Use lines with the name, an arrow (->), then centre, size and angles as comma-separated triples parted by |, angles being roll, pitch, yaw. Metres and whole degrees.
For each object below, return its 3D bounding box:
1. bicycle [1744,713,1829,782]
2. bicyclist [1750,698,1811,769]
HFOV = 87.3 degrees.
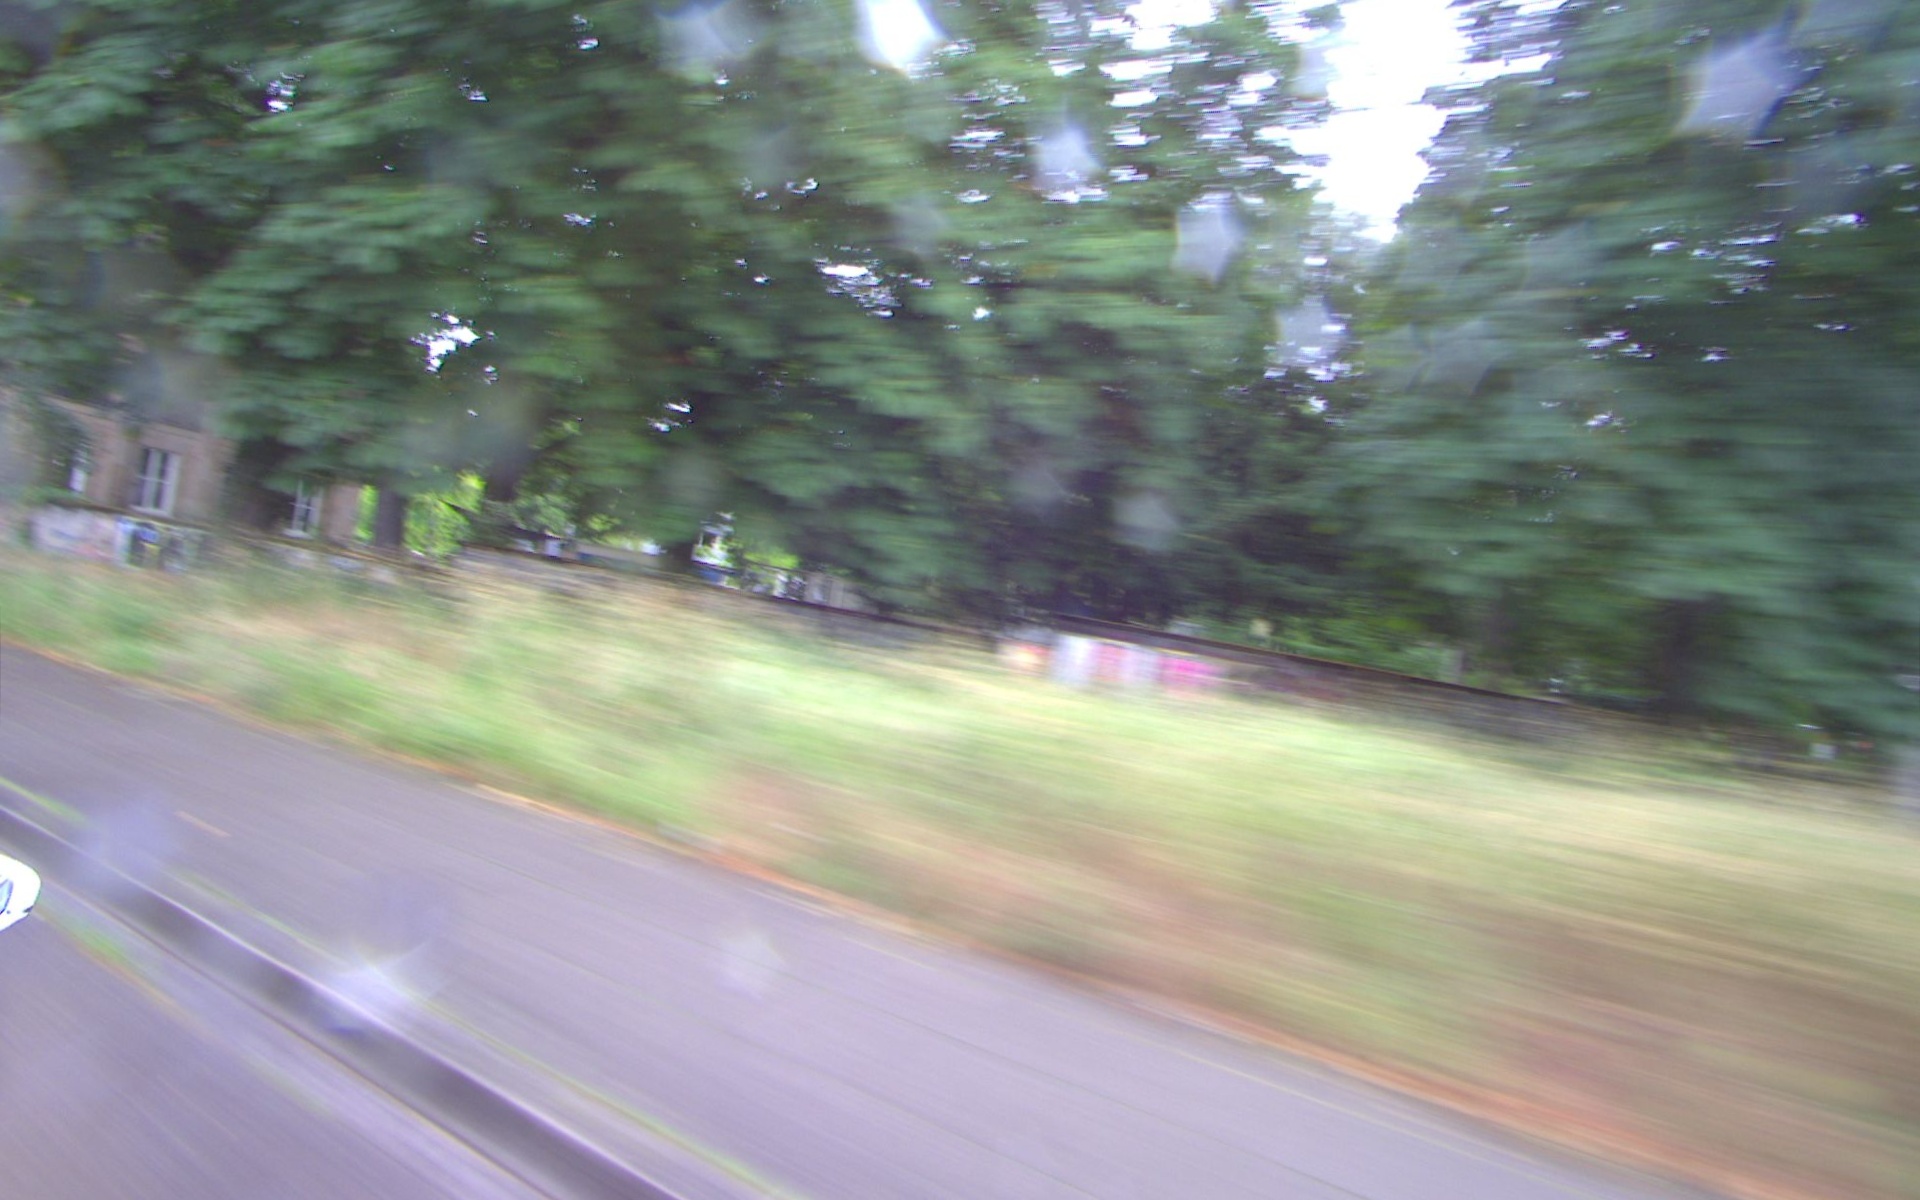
bicycle -> 16.583, 2.928, 20.223 | 0.614, 1.154, 1.713 | 8, -1, 18
bicyclist -> 16.755, 2.709, 20.552 | 0.583, 1.310, 0.800 | 7, 0, 17
